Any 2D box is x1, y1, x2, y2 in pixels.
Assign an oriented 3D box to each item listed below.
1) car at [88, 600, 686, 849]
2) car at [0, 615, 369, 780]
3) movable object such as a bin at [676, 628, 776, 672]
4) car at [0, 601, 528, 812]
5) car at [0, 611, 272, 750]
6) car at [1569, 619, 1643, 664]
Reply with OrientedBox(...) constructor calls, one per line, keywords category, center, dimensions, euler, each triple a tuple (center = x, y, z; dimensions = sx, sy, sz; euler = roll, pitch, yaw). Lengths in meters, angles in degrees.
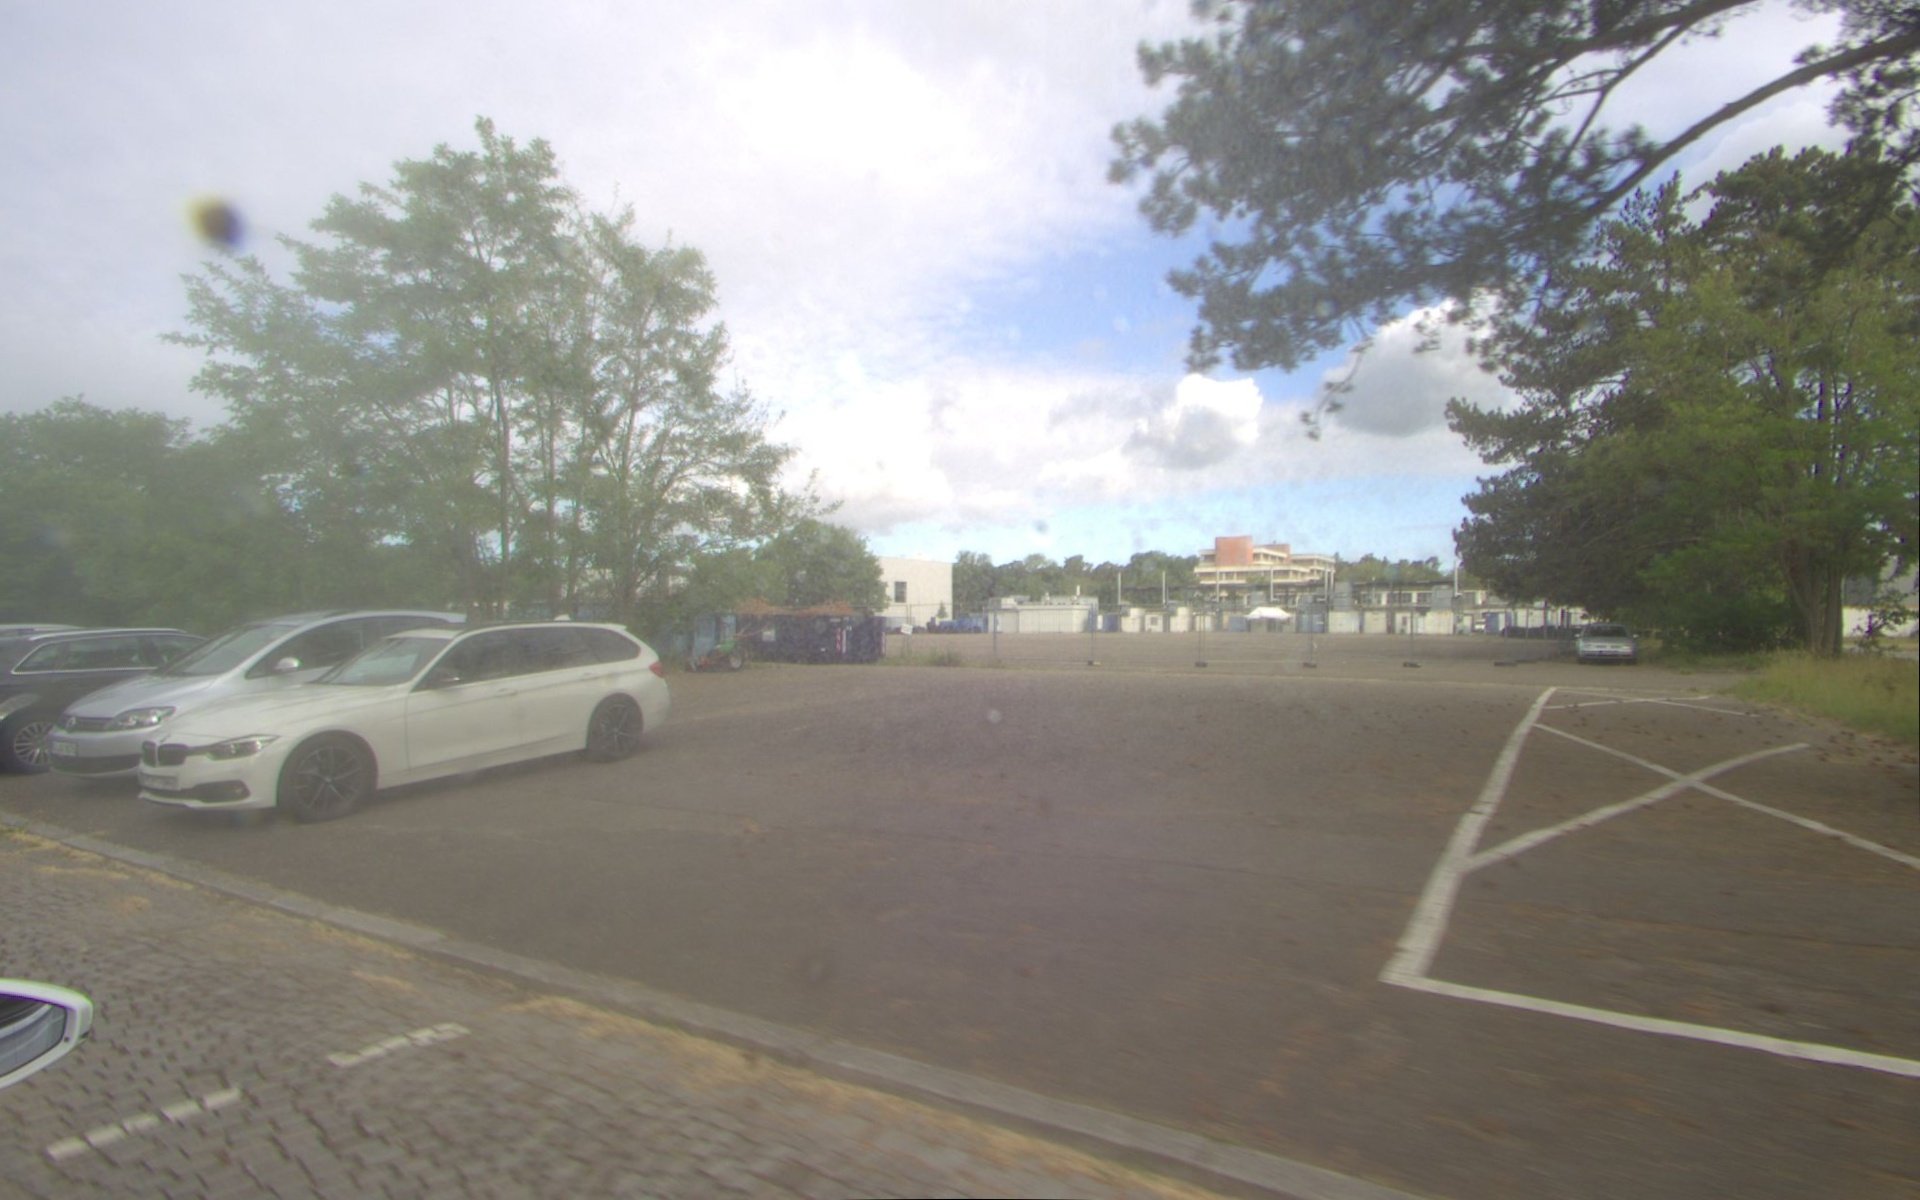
OrientedBox(category="car", center=(-4.910, 0.877, 9.361), dimensions=(1.877, 1.587, 4.484), euler=(0, 2, 30))
OrientedBox(category="car", center=(-9.541, 1.009, 11.750), dimensions=(1.857, 1.473, 4.066), euler=(0, 2, 30))
OrientedBox(category="movable object such as a bin", center=(-5.736, 1.200, 24.762), dimensions=(0.840, 1.001, 2.679), euler=(0, -1, 29))
OrientedBox(category="car", center=(-7.059, 0.905, 10.668), dimensions=(1.856, 1.618, 4.233), euler=(0, 2, 28))
OrientedBox(category="car", center=(-11.785, 1.007, 13.198), dimensions=(1.777, 1.536, 4.066), euler=(0, 2, 30))
OrientedBox(category="car", center=(22.960, 1.448, 35.716), dimensions=(1.943, 1.502, 3.983), euler=(0, -1, 29))
